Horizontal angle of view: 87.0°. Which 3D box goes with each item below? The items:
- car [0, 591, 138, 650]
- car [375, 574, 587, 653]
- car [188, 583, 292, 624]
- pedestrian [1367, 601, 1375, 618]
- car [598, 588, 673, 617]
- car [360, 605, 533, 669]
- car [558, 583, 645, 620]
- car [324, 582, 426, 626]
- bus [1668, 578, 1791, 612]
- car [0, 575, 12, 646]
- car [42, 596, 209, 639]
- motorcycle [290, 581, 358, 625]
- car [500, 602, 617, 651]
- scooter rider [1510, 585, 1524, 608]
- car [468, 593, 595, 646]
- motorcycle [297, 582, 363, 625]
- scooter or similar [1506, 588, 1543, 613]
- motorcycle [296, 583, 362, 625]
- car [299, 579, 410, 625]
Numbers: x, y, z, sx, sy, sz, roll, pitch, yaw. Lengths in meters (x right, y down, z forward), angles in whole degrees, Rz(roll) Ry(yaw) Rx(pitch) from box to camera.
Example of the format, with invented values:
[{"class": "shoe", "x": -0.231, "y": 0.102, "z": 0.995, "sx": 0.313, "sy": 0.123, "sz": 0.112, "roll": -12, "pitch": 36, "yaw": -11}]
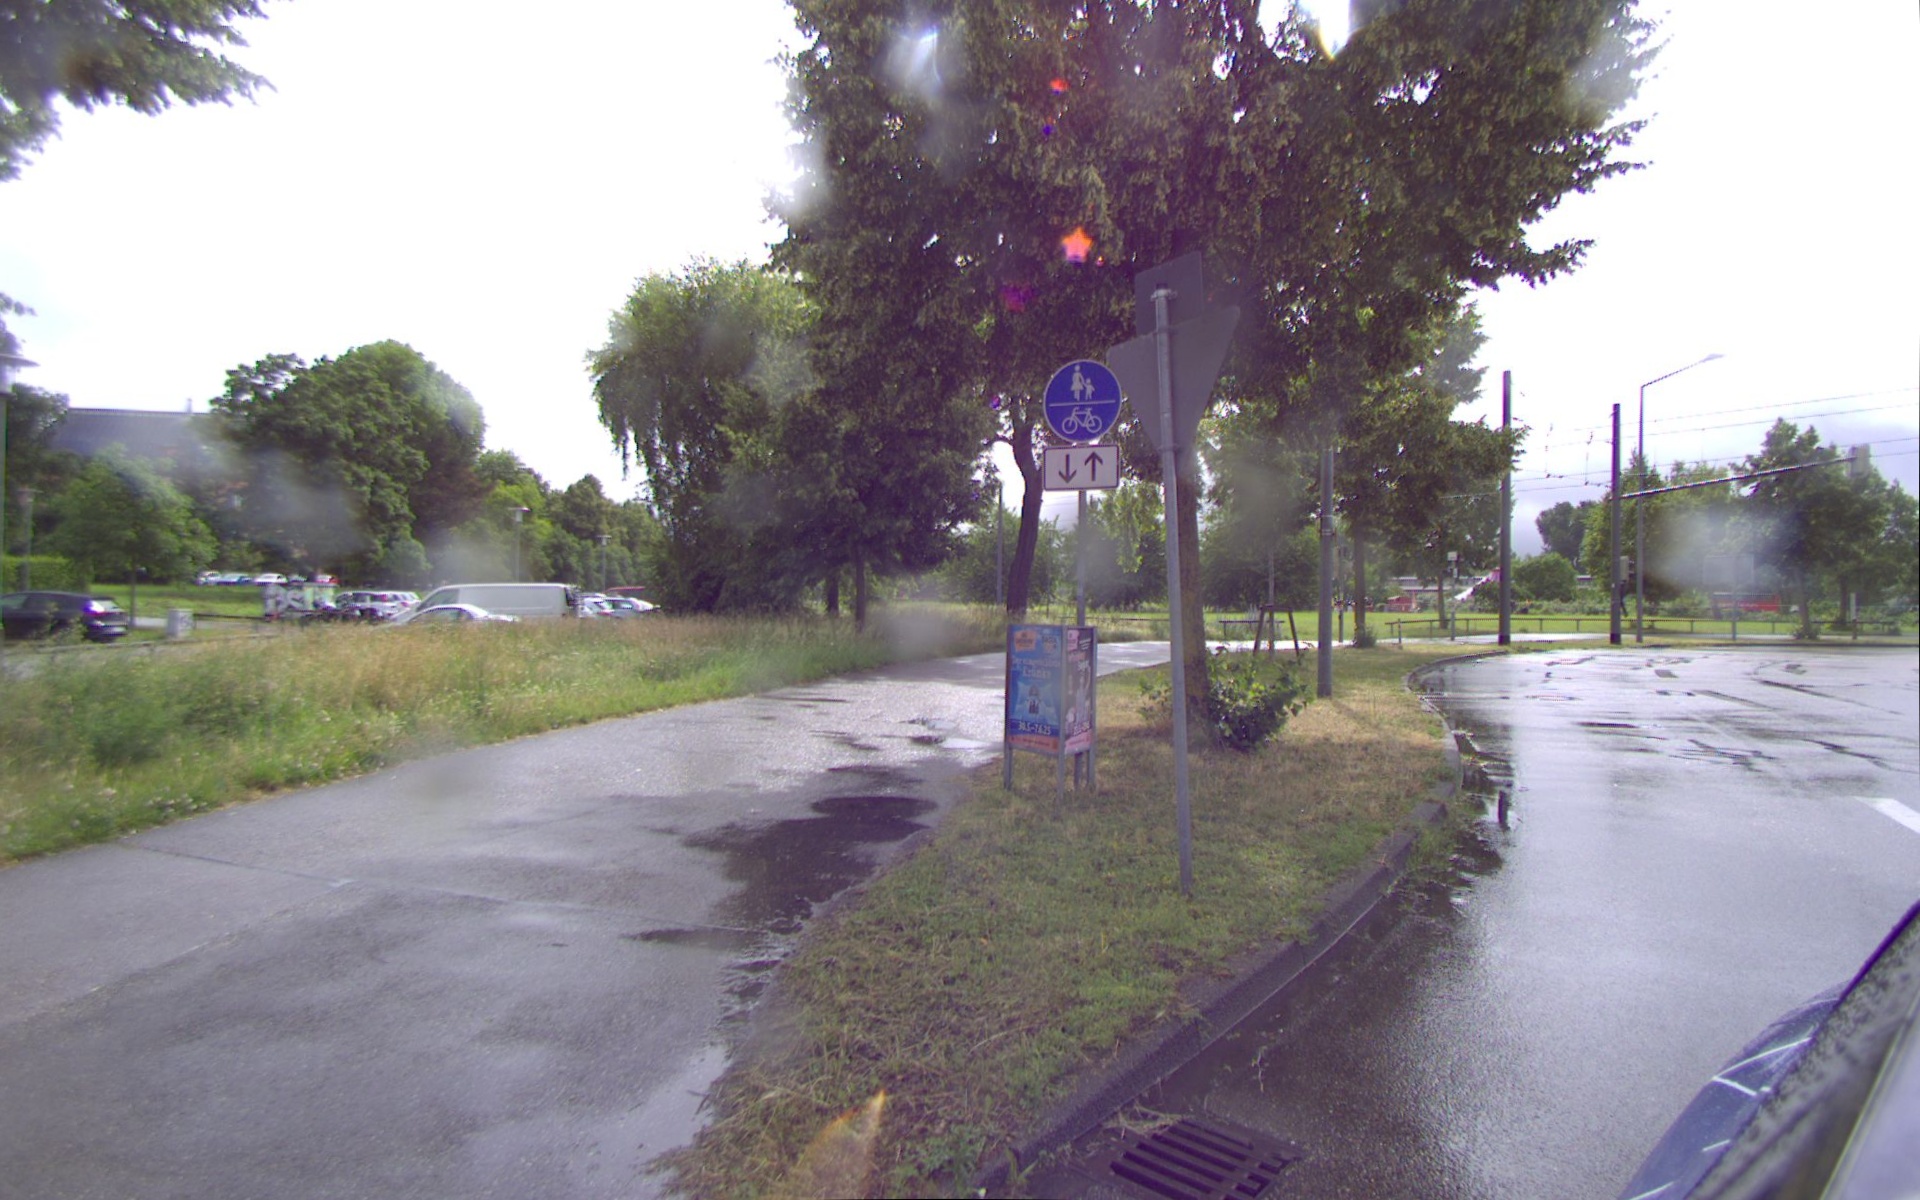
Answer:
[{"class": "car", "x": -24.557, "y": 0.526, "z": 27.142, "sx": 3.507, "sy": 1.362, "sz": 1.666, "roll": 3, "pitch": 0, "yaw": -9}, {"class": "car", "x": -13.601, "y": 0.366, "z": 29.016, "sx": 5.056, "sy": 2.083, "sz": 2.116, "roll": 1, "pitch": 1, "yaw": -6}, {"class": "car", "x": -37.495, "y": 0.208, "z": 52.795, "sx": 3.916, "sy": 2.040, "sz": 2.003, "roll": 1, "pitch": -2, "yaw": -14}, {"class": "pedestrian", "x": 41.989, "y": 0.956, "z": 103.335, "sx": 0.597, "sy": 1.754, "sz": 0.596, "roll": -1, "pitch": -3, "yaw": 41}, {"class": "car", "x": -17.555, "y": 0.118, "z": 54.894, "sx": 3.577, "sy": 1.529, "sz": 1.652, "roll": 0, "pitch": 0, "yaw": -5}, {"class": "car", "x": -12.772, "y": 0.894, "z": 25.354, "sx": 3.547, "sy": 1.529, "sz": 1.610, "roll": 0, "pitch": 0, "yaw": -7}, {"class": "car", "x": -16.781, "y": 0.062, "z": 47.476, "sx": 3.576, "sy": 1.680, "sz": 1.552, "roll": 0, "pitch": 0, "yaw": -6}, {"class": "car", "x": -28.859, "y": 0.223, "z": 50.052, "sx": 3.916, "sy": 2.040, "sz": 2.003, "roll": 1, "pitch": -2, "yaw": -14}, {"class": "bus", "x": 86.749, "y": -0.494, "z": 114.339, "sx": 10.945, "sy": 3.505, "sz": 1.968, "roll": -1, "pitch": -3, "yaw": 43}, {"class": "car", "x": -23.359, "y": 0.148, "z": 21.672, "sx": 4.020, "sy": 1.572, "sz": 1.855, "roll": 3, "pitch": 0, "yaw": -12}, {"class": "car", "x": -25.023, "y": 0.520, "z": 30.446, "sx": 3.507, "sy": 1.252, "sz": 1.666, "roll": 0, "pitch": 0, "yaw": -9}, {"class": "motorcycle", "x": -27.149, "y": 0.138, "z": 43.225, "sx": 2.301, "sy": 1.790, "sz": 0.660, "roll": 1, "pitch": -3, "yaw": -14}, {"class": "car", "x": -14.070, "y": 0.900, "z": 35.584, "sx": 3.528, "sy": 1.684, "sz": 1.531, "roll": 0, "pitch": 0, "yaw": -5}, {"class": "scooter rider", "x": 48.904, "y": -0.300, "z": 88.874, "sx": 0.692, "sy": 2.040, "sz": 0.771, "roll": 1, "pitch": -2, "yaw": -4}, {"class": "car", "x": -13.935, "y": 0.602, "z": 33.018, "sx": 3.528, "sy": 1.684, "sz": 1.531, "roll": 0, "pitch": 0, "yaw": -5}, {"class": "motorcycle", "x": -27.450, "y": 0.165, "z": 44.152, "sx": 2.301, "sy": 1.790, "sz": 0.660, "roll": 1, "pitch": -3, "yaw": -14}, {"class": "scooter or similar", "x": 49.062, "y": 0.024, "z": 87.987, "sx": 1.216, "sy": 2.040, "sz": 3.408, "roll": 1, "pitch": -2, "yaw": -1}, {"class": "motorcycle", "x": -27.939, "y": 0.183, "z": 44.841, "sx": 2.301, "sy": 1.790, "sz": 0.660, "roll": 1, "pitch": -3, "yaw": -14}, {"class": "car", "x": -27.987, "y": 0.128, "z": 46.920, "sx": 3.916, "sy": 2.040, "sz": 2.003, "roll": 1, "pitch": -2, "yaw": -14}]
